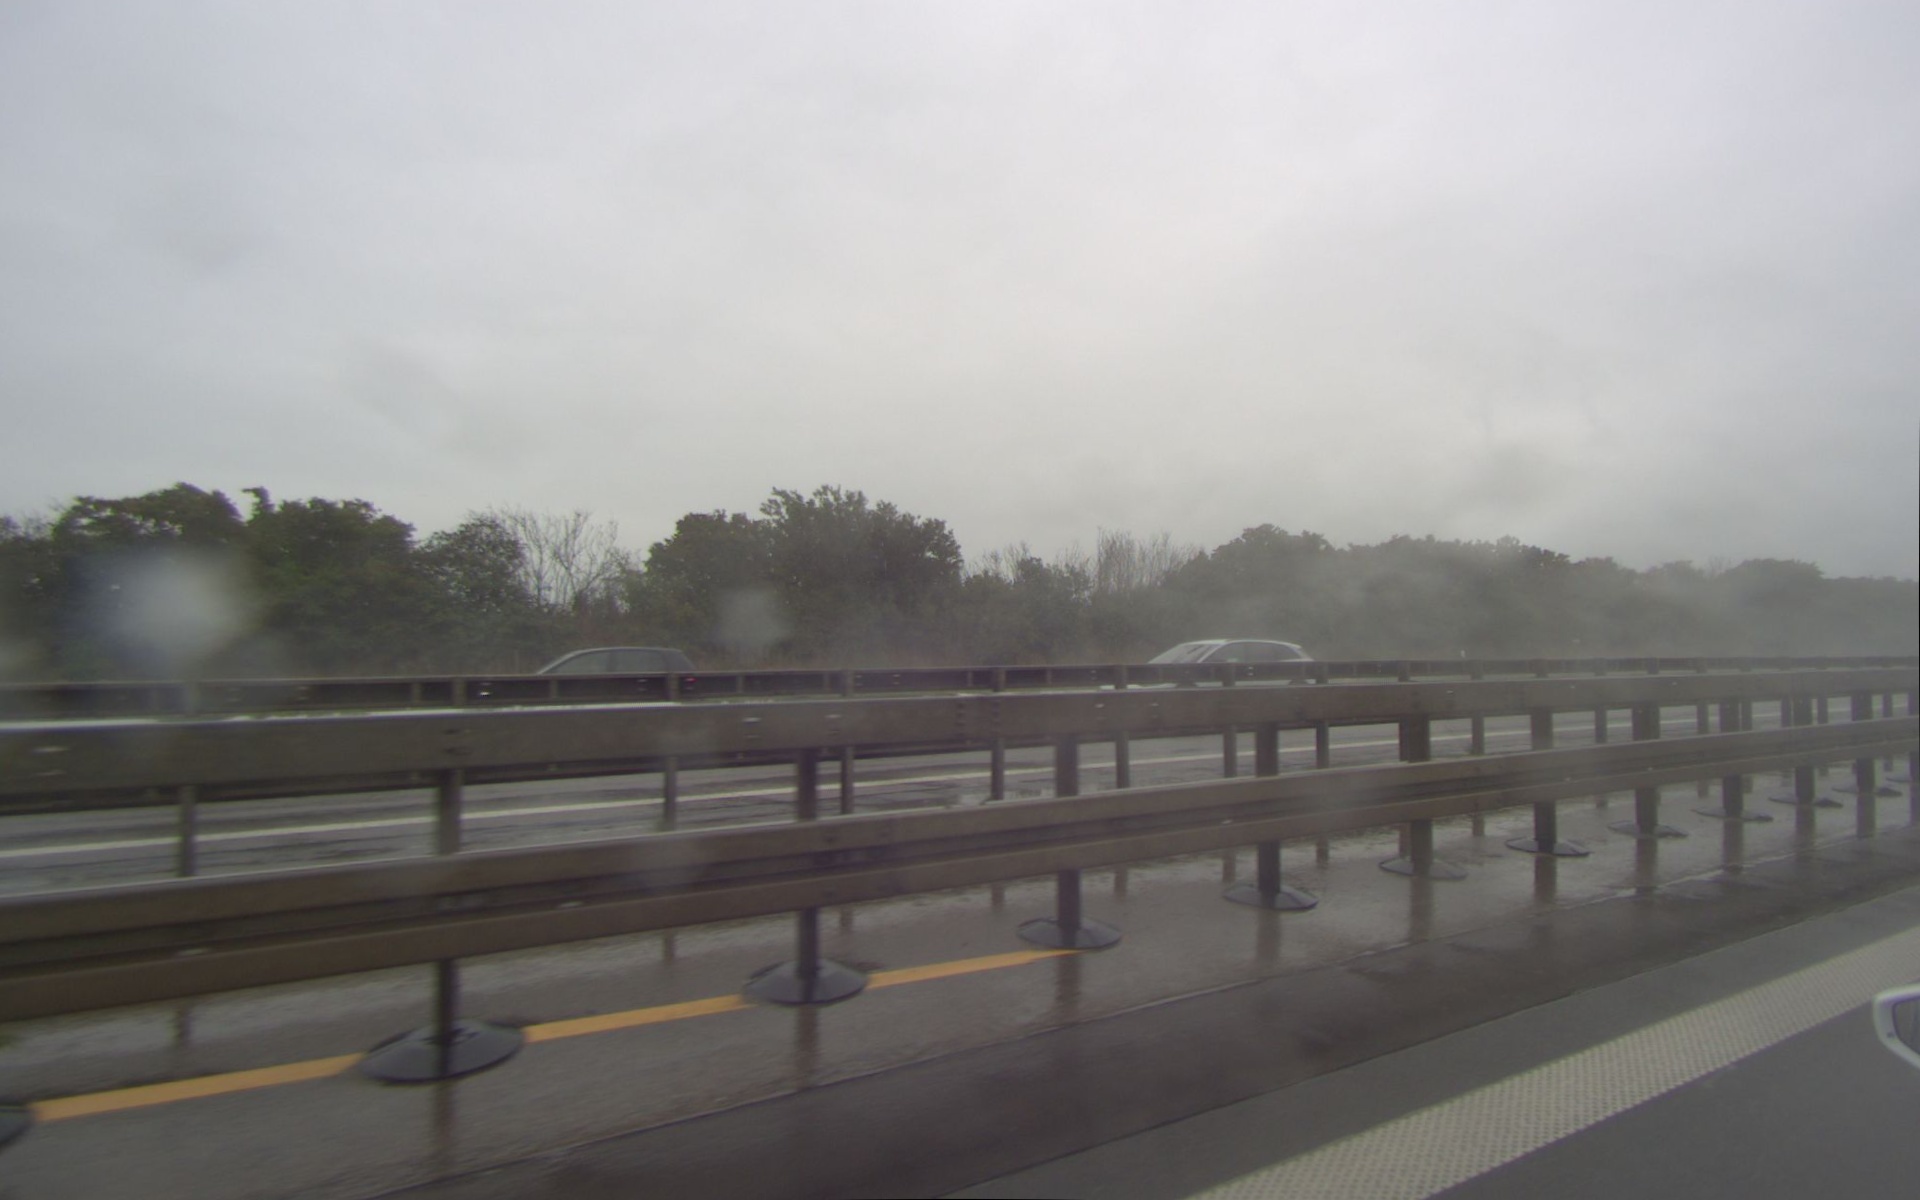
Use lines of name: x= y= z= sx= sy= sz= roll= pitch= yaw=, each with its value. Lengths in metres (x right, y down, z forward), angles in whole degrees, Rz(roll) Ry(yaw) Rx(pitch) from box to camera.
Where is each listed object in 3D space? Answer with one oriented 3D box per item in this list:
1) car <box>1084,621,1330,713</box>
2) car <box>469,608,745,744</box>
car: x=4.862 y=1.241 z=19.591 sx=4.600 sy=1.551 sz=1.984 roll=1 pitch=0 yaw=-31
car: x=-6.252 y=1.262 z=17.903 sx=4.335 sy=2.132 sz=1.984 roll=1 pitch=0 yaw=-31
